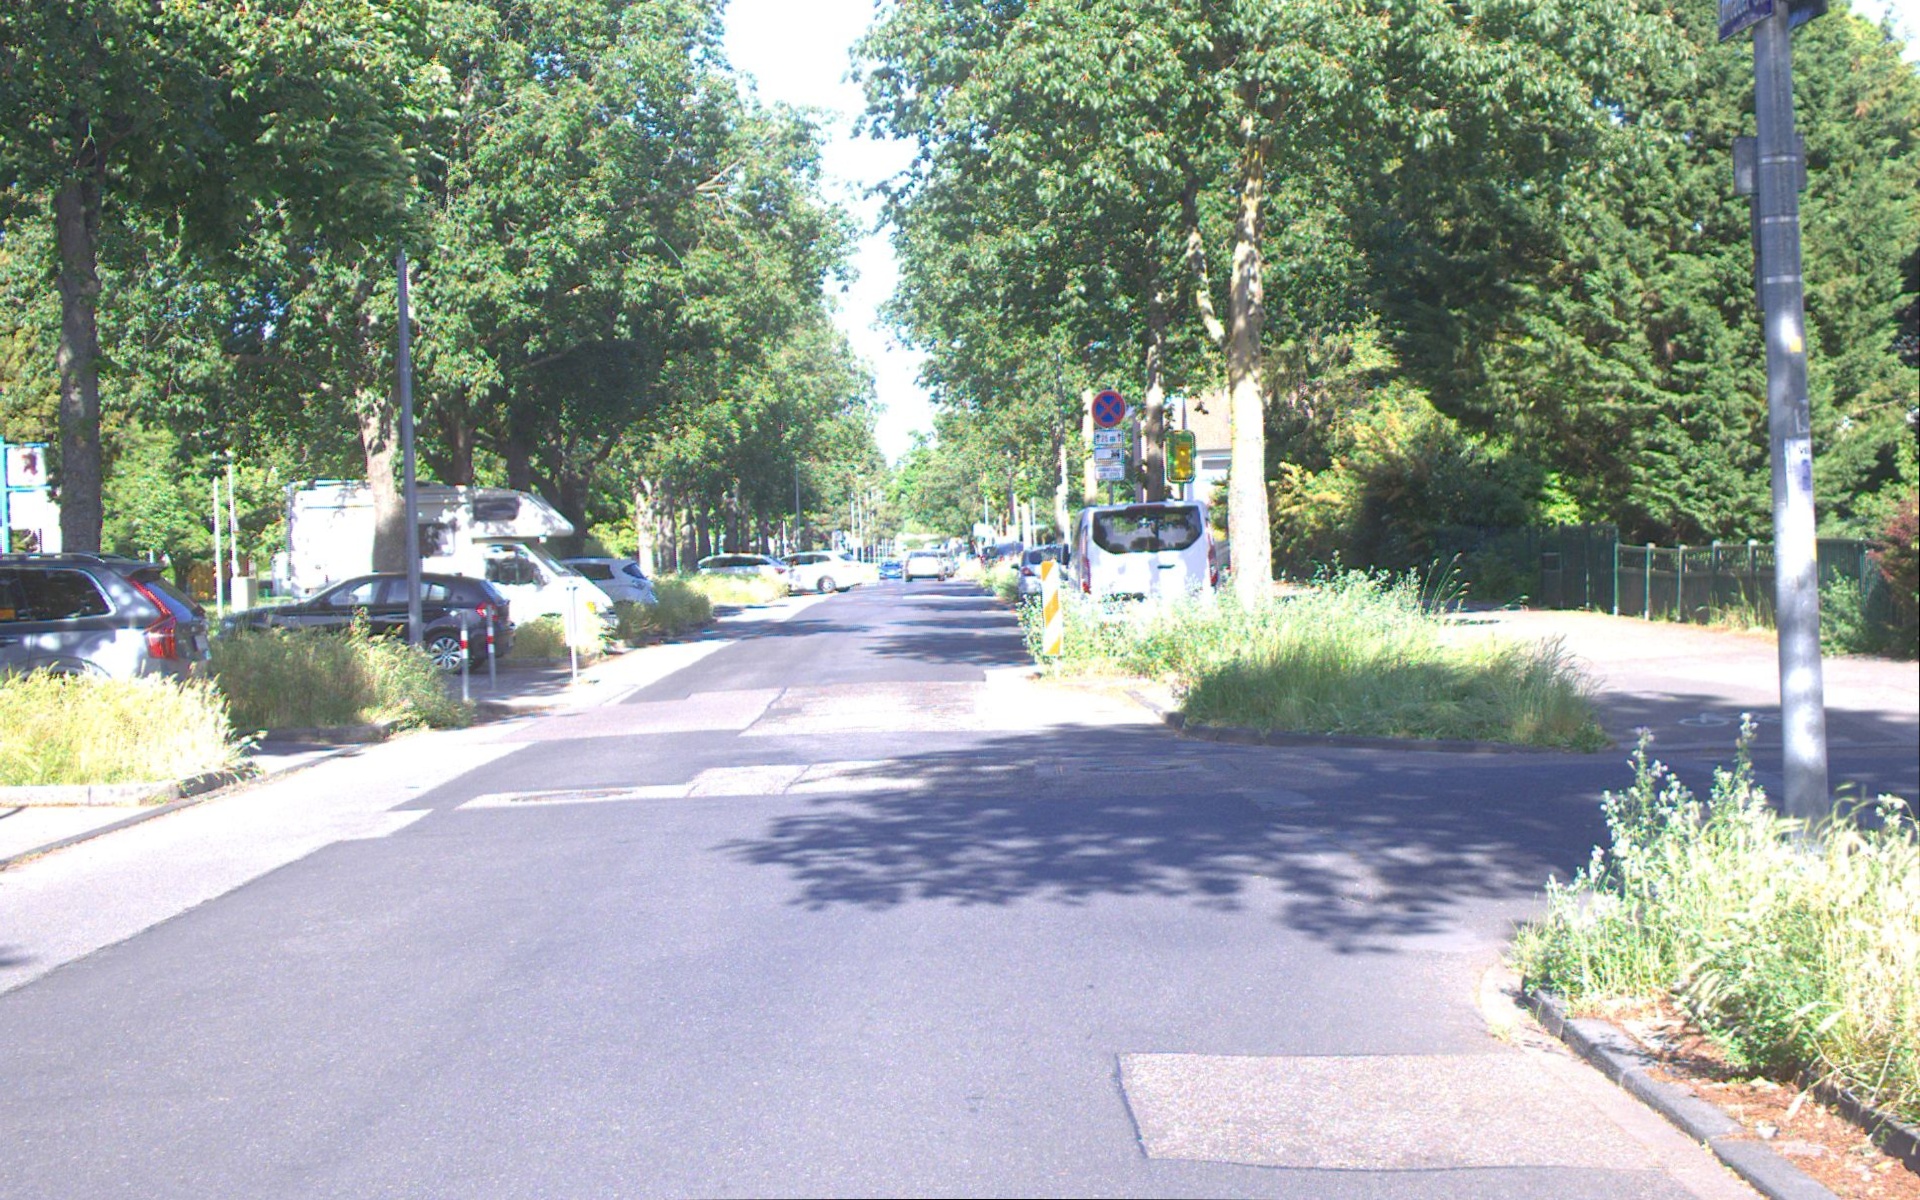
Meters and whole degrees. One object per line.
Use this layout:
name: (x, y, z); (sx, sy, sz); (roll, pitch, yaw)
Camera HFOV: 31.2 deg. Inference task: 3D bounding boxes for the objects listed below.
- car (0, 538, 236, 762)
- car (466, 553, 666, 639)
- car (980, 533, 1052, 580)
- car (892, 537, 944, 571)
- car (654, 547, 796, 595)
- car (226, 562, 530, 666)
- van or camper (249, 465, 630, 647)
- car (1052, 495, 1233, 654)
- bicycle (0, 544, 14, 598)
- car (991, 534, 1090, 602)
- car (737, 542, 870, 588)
car: (-8.540, 0.358, 27.668); (5.060, 1.722, 2.000); (1, 0, -4)
car: (-8.254, -0.107, 72.289); (3.987, 1.655, 1.967); (-2, 1, -1)
car: (1.981, -1.541, 122.326); (1.993, 1.616, 4.382); (1, 0, -6)
car: (-1.934, -2.067, 156.144); (1.993, 1.503, 3.659); (1, 0, -6)
car: (-8.078, -1.014, 118.553); (4.671, 1.498, 2.000); (-2, 1, 1)
car: (-8.220, 0.191, 48.735); (3.987, 1.445, 1.639); (0, 0, 3)
van or camper: (-8.356, -0.708, 55.545); (5.776, 2.795, 2.000); (1, 0, 2)
car: (2.406, -0.344, 46.687); (1.993, 2.007, 5.197); (1, 0, -2)
bicycle: (-21.679, -0.658, 77.159); (0.703, 1.172, 4.058); (-3, 2, -17)
car: (1.987, -0.775, 84.081); (1.994, 1.505, 3.999); (-3, 0, 7)
car: (-5.477, -1.241, 120.387); (4.213, 1.450, 1.999); (-2, 1, 13)
